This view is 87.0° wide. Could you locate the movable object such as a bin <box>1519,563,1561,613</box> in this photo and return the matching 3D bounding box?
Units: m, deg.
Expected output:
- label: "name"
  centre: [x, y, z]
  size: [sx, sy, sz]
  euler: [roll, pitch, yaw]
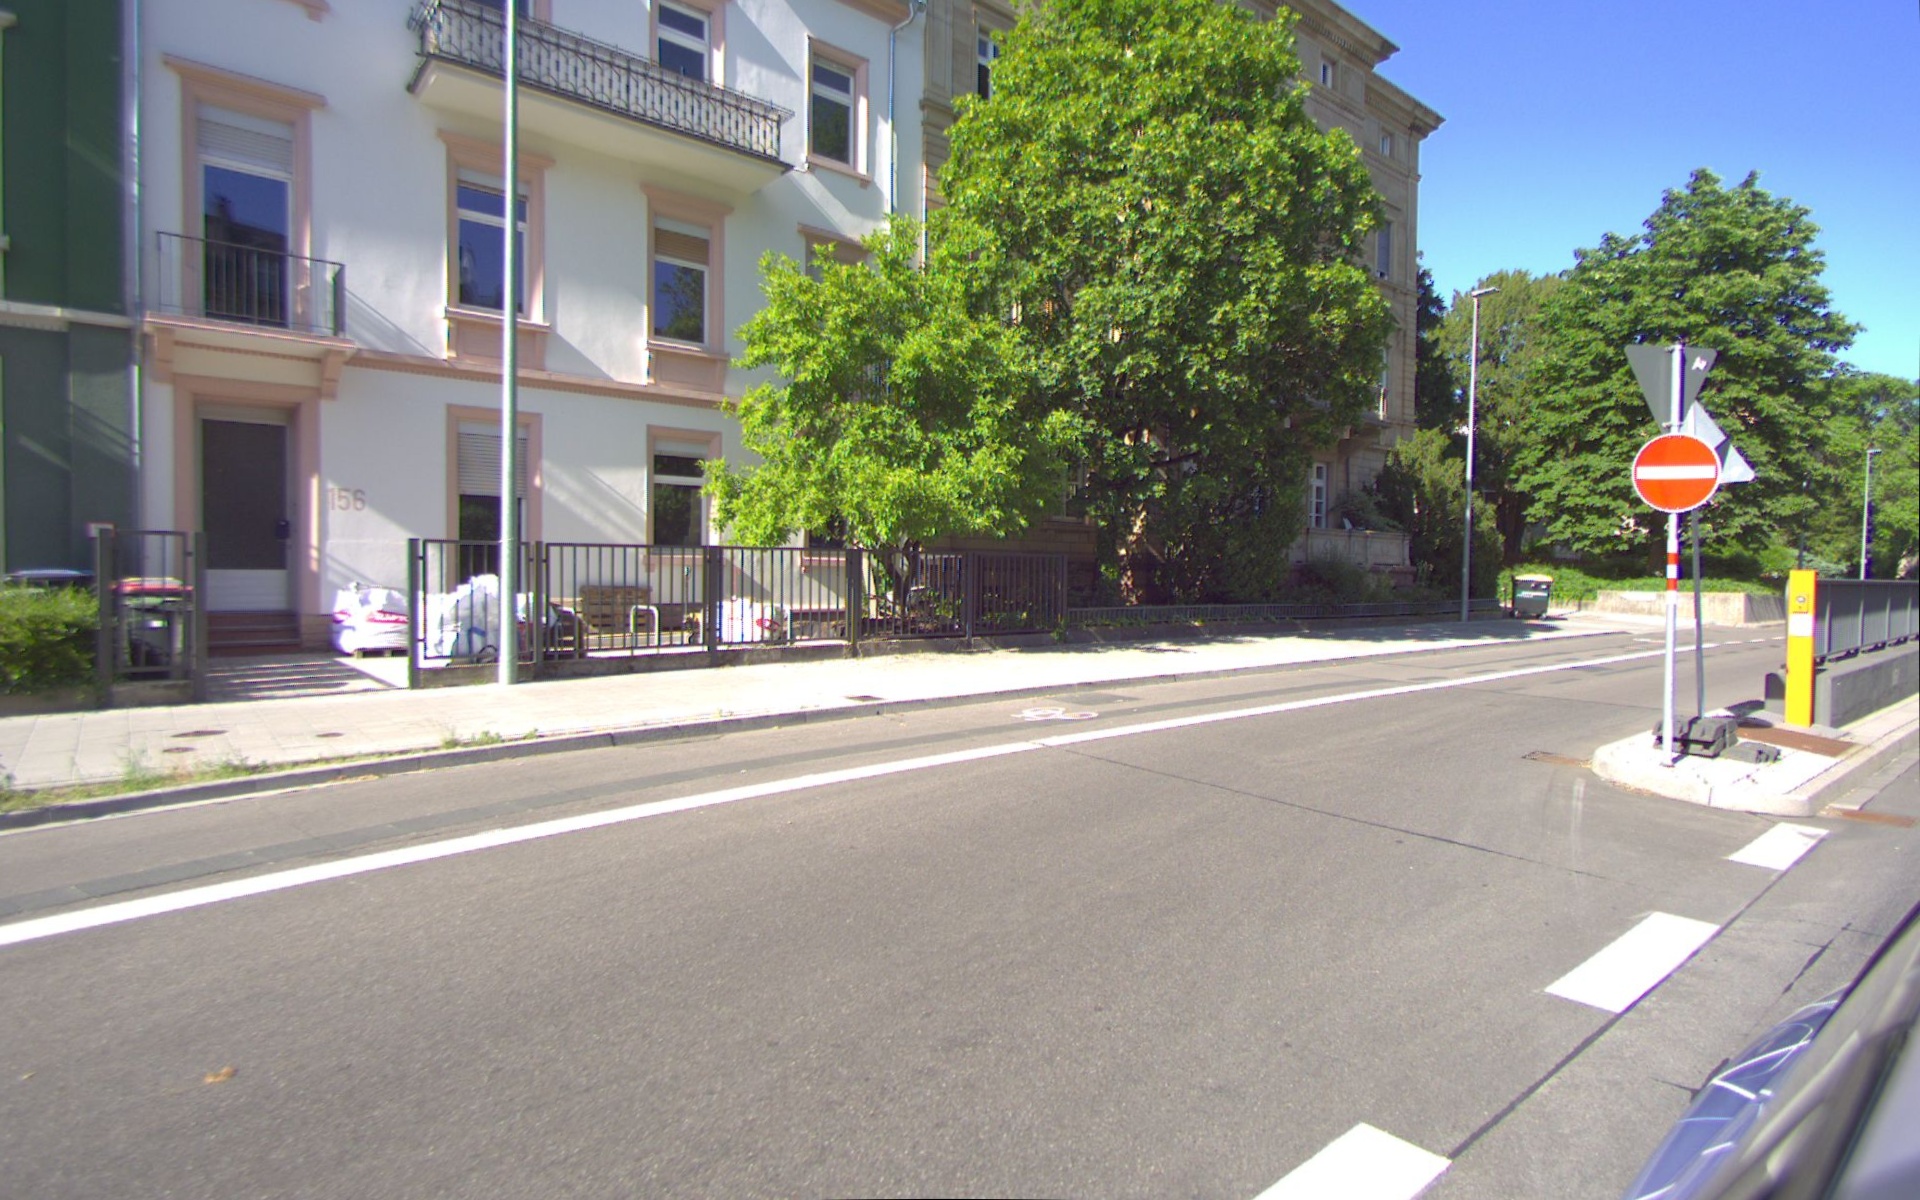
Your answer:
- label: "movable object such as a bin"
  centre: [17.244, -0.360, 30.103]
  size: [0.965, 1.415, 1.275]
  euler: [3, 2, 27]
